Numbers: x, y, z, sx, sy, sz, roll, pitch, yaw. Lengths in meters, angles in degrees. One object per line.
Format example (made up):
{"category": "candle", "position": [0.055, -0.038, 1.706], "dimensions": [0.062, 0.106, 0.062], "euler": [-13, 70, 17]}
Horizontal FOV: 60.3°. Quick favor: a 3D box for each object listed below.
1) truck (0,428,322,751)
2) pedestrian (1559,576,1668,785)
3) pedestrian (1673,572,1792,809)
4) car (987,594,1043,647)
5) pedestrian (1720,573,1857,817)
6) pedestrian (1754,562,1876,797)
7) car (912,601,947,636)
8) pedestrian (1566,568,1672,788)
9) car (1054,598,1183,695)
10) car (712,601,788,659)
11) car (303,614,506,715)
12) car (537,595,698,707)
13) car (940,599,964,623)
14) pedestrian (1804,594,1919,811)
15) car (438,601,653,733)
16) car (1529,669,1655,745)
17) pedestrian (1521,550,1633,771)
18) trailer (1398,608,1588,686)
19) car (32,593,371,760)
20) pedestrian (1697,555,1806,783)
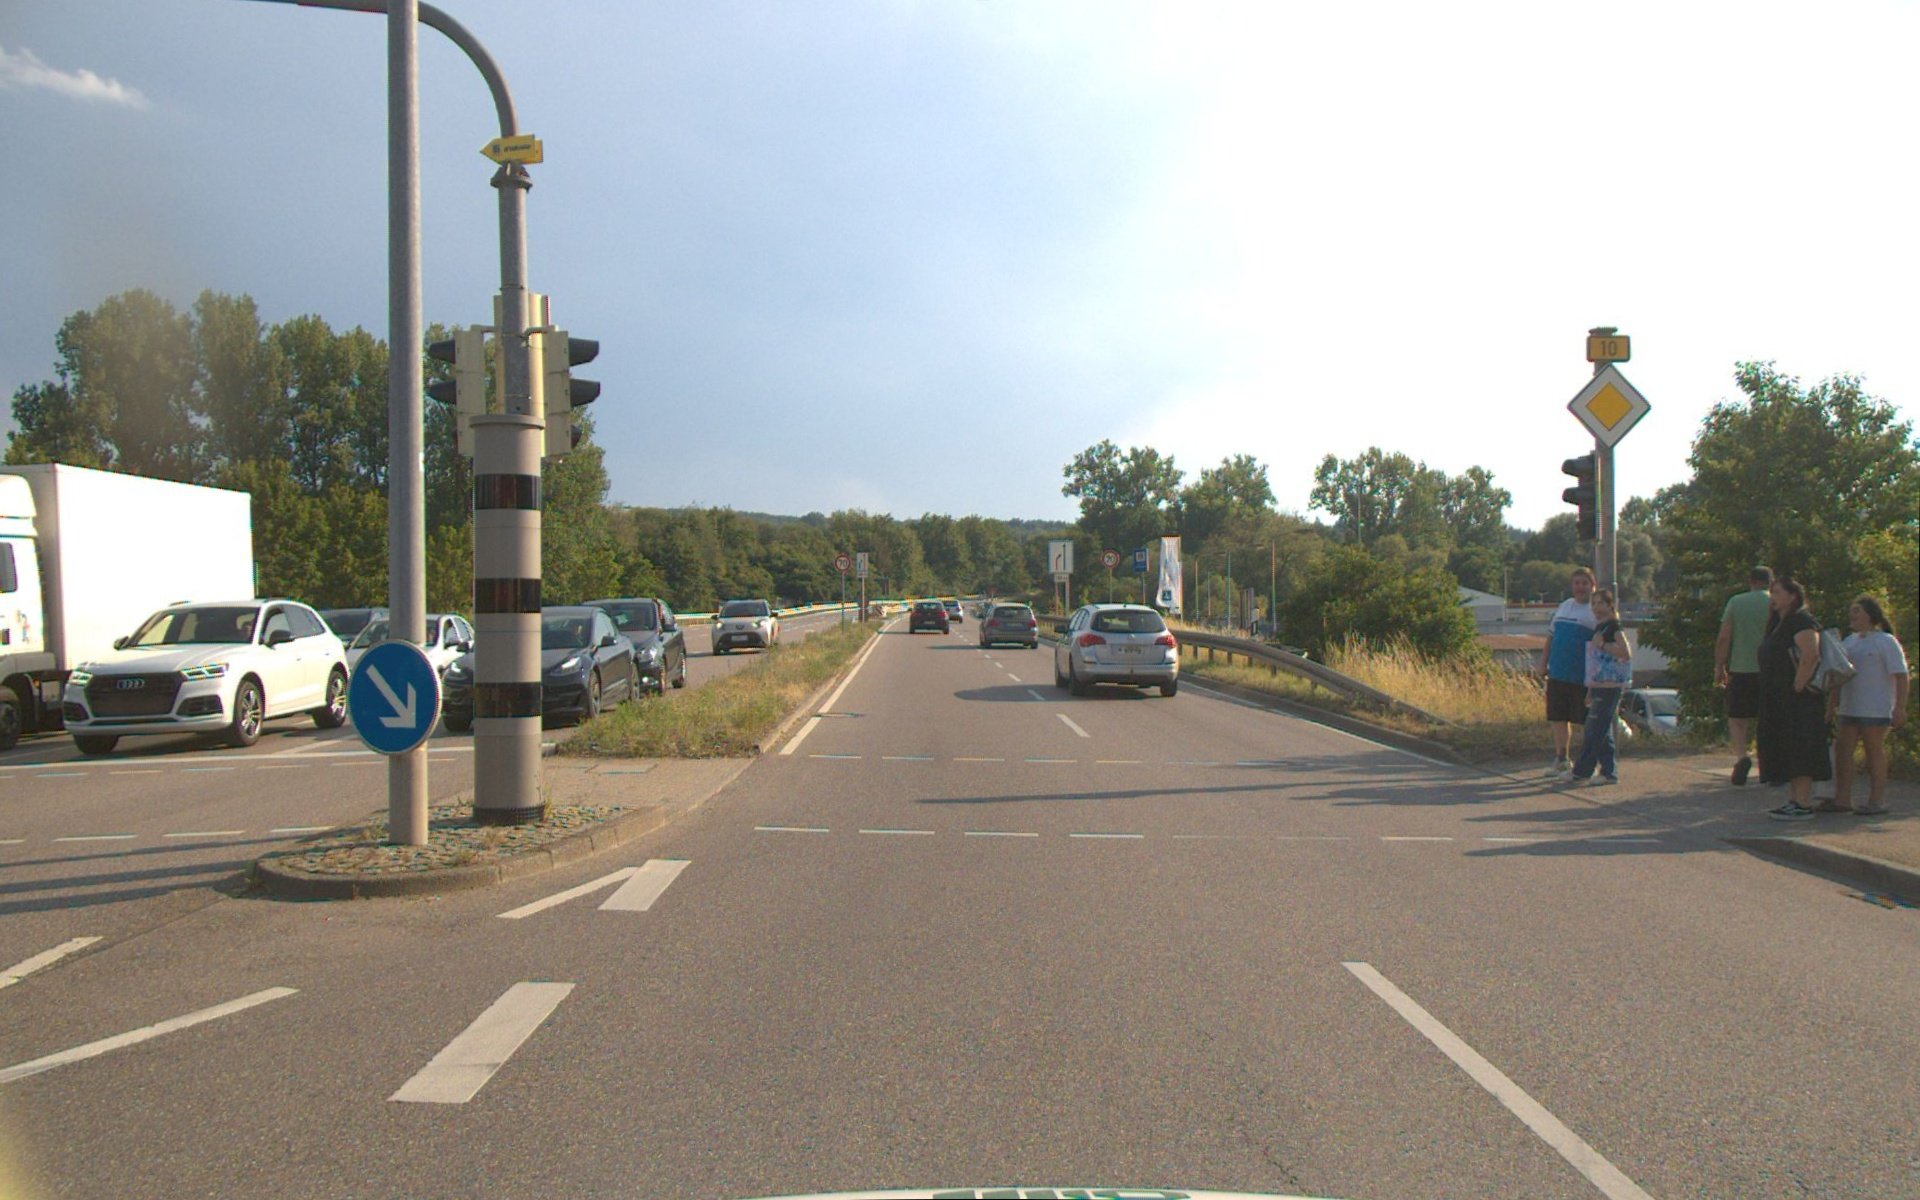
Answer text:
{"category": "truck", "position": [-12.592, 0.011, 23.468], "dimensions": [2.873, 3.755, 10.497], "euler": [-3, -1, 0]}
{"category": "pedestrian", "position": [5.565, 0.678, 14.119], "dimensions": [0.582, 1.712, 0.633], "euler": [-3, -1, -2]}
{"category": "pedestrian", "position": [5.739, 0.660, 12.301], "dimensions": [0.561, 1.707, 0.622], "euler": [1, -1, -5]}
{"category": "car", "position": [1.749, 0.670, 53.533], "dimensions": [1.633, 1.601, 4.000], "euler": [1, -1, 0]}
{"category": "pedestrian", "position": [5.793, 0.648, 11.592], "dimensions": [0.561, 1.643, 0.622], "euler": [-2, -1, -5]}
{"category": "pedestrian", "position": [6.391, 0.588, 12.380], "dimensions": [0.561, 1.707, 0.622], "euler": [1, -1, -5]}
{"category": "car", "position": [-1.341, 0.839, 73.391], "dimensions": [1.462, 1.502, 3.358], "euler": [1, -1, 0]}
{"category": "pedestrian", "position": [5.240, 0.613, 13.173], "dimensions": [0.561, 1.707, 0.622], "euler": [1, -1, -5]}
{"category": "car", "position": [2.637, 0.779, 28.286], "dimensions": [1.772, 1.512, 3.999], "euler": [1, -1, -1]}
{"category": "car", "position": [-6.085, 0.872, 48.285], "dimensions": [1.744, 1.547, 3.999], "euler": [-2, -1, -1]}
{"category": "car", "position": [-8.818, 0.988, 26.716], "dimensions": [1.668, 1.430, 5.079], "euler": [-2, -1, -2]}
{"category": "car", "position": [-5.508, 0.761, 27.164], "dimensions": [1.744, 1.564, 4.570], "euler": [-2, 1, -1]}
{"category": "car", "position": [-0.499, 0.706, 106.041], "dimensions": [1.462, 1.502, 3.358], "euler": [1, -1, 0]}
{"category": "pedestrian", "position": [6.398, 0.711, 11.654], "dimensions": [0.561, 1.482, 0.622], "euler": [1, -1, -5]}
{"category": "car", "position": [-5.241, 0.810, 21.546], "dimensions": [1.754, 1.492, 4.926], "euler": [-1, -1, -3]}
{"category": "car", "position": [14.093, 2.361, 37.071], "dimensions": [1.497, 1.510, 3.585], "euler": [1, -1, 1]}
{"category": "pedestrian", "position": [5.542, 0.536, 14.895], "dimensions": [0.606, 1.916, 0.861], "euler": [-1, -1, -2]}
{"category": "trailer", "position": [24.346, 2.142, 75.899], "dimensions": [7.714, 3.381, 3.360], "euler": [1, -1, 4]}
{"category": "car", "position": [-8.883, 0.846, 19.918], "dimensions": [1.953, 1.708, 4.805], "euler": [-2, -1, -2]}
{"category": "pedestrian", "position": [6.395, 0.551, 13.385], "dimensions": [0.520, 1.780, 0.537], "euler": [-4, -1, 4]}
